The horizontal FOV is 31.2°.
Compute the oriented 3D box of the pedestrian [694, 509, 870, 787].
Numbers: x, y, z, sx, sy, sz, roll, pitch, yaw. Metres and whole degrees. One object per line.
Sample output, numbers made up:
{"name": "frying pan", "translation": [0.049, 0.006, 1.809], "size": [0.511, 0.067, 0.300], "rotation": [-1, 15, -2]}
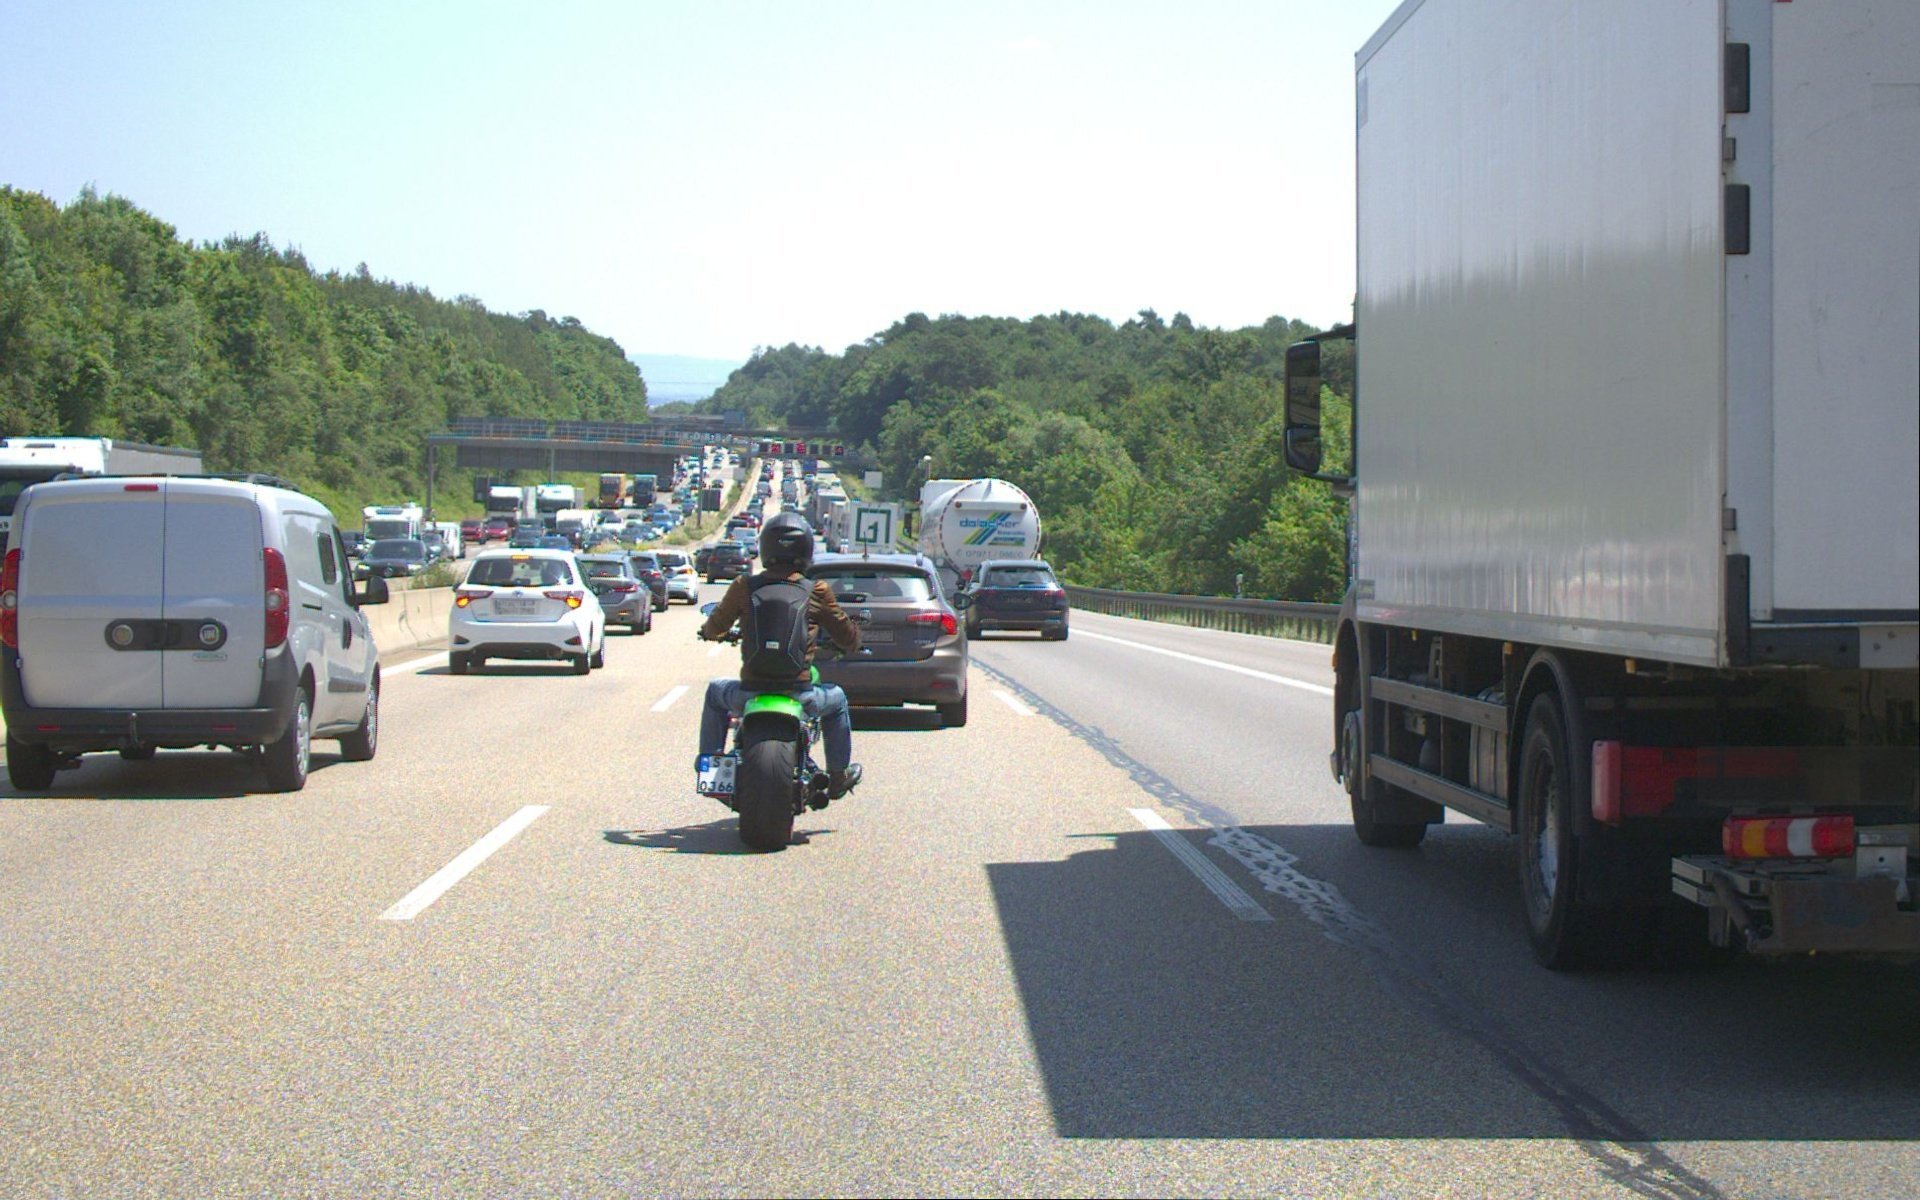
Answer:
{"name": "pedestrian", "translation": [-0.887, 0.226, 17.340], "size": [0.849, 1.357, 0.961], "rotation": [0, 1, -2]}

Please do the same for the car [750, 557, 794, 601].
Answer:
{"name": "car", "translation": [-6.482, -0.729, 118.549], "size": [1.393, 1.458, 2.779], "rotation": [0, 1, 0]}

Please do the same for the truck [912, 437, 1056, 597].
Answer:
{"name": "truck", "translation": [0.501, -1.952, 84.116], "size": [2.987, 3.659, 9.289], "rotation": [0, 0, -3]}

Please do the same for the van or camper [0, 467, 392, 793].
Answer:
{"name": "van or camper", "translation": [-4.823, 0.159, 22.086], "size": [1.796, 1.886, 4.160], "rotation": [0, 0, -2]}

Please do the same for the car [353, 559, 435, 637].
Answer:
{"name": "car", "translation": [-15.028, -0.077, 91.456], "size": [1.763, 2.007, 4.001], "rotation": [0, 1, -4]}

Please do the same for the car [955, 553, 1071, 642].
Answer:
{"name": "car", "translation": [0.953, -0.069, 63.870], "size": [1.828, 1.465, 4.001], "rotation": [3, 1, -3]}

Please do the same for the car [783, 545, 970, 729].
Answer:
{"name": "car", "translation": [-0.721, 0.274, 30.384], "size": [1.532, 1.504, 4.000], "rotation": [0, 1, -1]}

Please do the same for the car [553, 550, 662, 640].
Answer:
{"name": "car", "translation": [-6.340, -0.111, 62.190], "size": [1.699, 1.473, 4.001], "rotation": [2, 1, -3]}

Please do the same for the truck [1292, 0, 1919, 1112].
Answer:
{"name": "truck", "translation": [3.229, -0.643, 14.064], "size": [2.688, 3.863, 9.781], "rotation": [0, 1, -1]}

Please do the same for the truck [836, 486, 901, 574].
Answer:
{"name": "truck", "translation": [-5.047, -3.832, 188.128], "size": [3.033, 4.527, 9.984], "rotation": [3, 1, -3]}

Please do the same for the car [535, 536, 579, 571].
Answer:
{"name": "car", "translation": [-18.402, -2.126, 157.159], "size": [1.710, 1.532, 4.129], "rotation": [1, 1, -3]}

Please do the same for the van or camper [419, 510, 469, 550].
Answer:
{"name": "van or camper", "translation": [-26.132, -3.534, 174.084], "size": [2.076, 1.970, 3.705], "rotation": [1, 1, -2]}

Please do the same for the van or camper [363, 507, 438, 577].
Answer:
{"name": "van or camper", "translation": [-22.707, -2.323, 139.693], "size": [2.269, 2.726, 6.807], "rotation": [0, 0, -3]}

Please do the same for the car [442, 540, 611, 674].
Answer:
{"name": "car", "translation": [-5.268, 0.043, 42.147], "size": [1.699, 1.473, 4.001], "rotation": [2, 1, -3]}

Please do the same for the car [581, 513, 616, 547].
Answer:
{"name": "car", "translation": [-21.068, -4.085, 200.610], "size": [1.891, 1.941, 4.001], "rotation": [0, 0, -4]}

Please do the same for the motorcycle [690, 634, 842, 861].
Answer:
{"name": "motorcycle", "translation": [-0.953, 0.707, 17.289], "size": [0.691, 1.012, 2.122], "rotation": [1, 1, -2]}

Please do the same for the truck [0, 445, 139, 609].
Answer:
{"name": "truck", "translation": [-22.478, -1.762, 85.395], "size": [2.812, 3.895, 7.316], "rotation": [0, 0, -4]}

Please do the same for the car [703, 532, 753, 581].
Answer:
{"name": "car", "translation": [-9.442, -1.799, 140.211], "size": [1.880, 1.853, 4.001], "rotation": [3, 1, -3]}

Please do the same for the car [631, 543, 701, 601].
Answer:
{"name": "car", "translation": [-7.986, -0.780, 93.644], "size": [1.699, 1.473, 4.001], "rotation": [2, 1, -3]}

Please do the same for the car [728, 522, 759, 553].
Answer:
{"name": "car", "translation": [-14.554, -4.197, 231.193], "size": [1.929, 2.007, 4.000], "rotation": [0, 0, -2]}

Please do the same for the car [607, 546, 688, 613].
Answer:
{"name": "car", "translation": [-7.460, -0.503, 82.350], "size": [1.699, 1.473, 4.001], "rotation": [2, 1, -3]}

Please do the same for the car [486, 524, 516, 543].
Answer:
{"name": "car", "translation": [-34.196, -4.981, 256.108], "size": [1.762, 1.365, 4.502], "rotation": [1, 1, -3]}

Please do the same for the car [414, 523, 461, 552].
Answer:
{"name": "car", "translation": [-25.742, -3.071, 169.440], "size": [1.801, 1.342, 4.724], "rotation": [1, 1, -3]}

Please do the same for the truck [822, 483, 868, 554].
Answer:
{"name": "truck", "translation": [-8.784, -6.216, 262.166], "size": [3.033, 5.121, 9.984], "rotation": [3, 1, -3]}

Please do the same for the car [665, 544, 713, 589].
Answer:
{"name": "car", "translation": [-12.300, -1.536, 156.320], "size": [1.993, 2.007, 4.000], "rotation": [0, 0, -2]}
